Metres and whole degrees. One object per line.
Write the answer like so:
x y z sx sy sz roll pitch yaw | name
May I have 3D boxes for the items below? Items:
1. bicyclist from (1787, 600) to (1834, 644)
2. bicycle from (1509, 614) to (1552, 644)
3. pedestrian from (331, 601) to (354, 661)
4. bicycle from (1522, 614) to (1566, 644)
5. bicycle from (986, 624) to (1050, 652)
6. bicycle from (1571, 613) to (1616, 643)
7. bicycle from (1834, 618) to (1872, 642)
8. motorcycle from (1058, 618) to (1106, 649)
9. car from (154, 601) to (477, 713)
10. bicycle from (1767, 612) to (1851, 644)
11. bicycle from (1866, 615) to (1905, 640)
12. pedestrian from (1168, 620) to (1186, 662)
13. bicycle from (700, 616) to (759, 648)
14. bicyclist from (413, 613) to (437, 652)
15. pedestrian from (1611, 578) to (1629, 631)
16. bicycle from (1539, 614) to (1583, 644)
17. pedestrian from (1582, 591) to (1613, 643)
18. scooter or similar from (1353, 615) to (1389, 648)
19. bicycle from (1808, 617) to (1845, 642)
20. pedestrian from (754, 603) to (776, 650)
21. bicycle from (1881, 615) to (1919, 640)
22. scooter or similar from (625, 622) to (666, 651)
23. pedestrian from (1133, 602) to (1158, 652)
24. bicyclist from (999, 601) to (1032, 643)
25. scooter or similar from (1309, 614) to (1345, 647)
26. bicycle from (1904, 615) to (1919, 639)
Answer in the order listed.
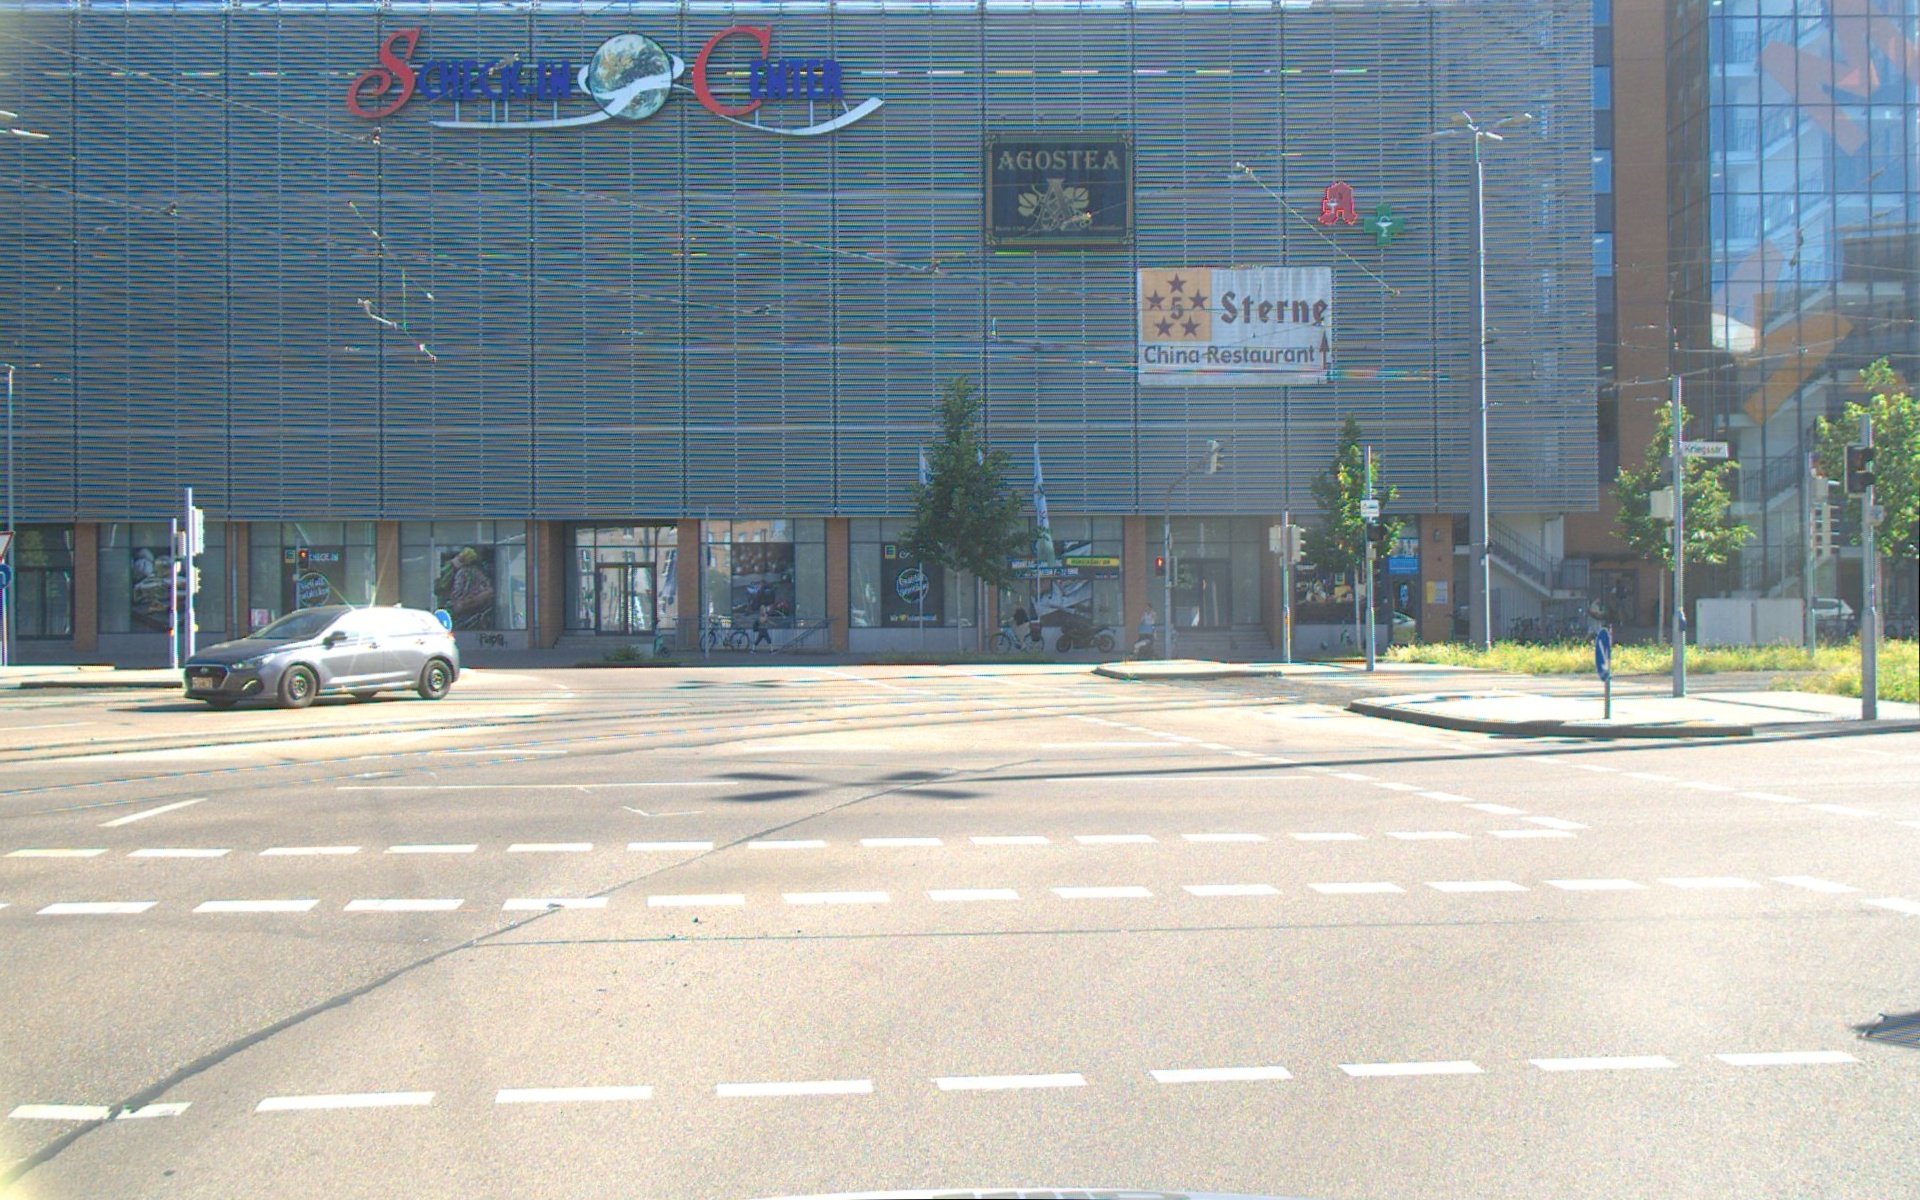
28.478 0.739 55.388 1.281 1.432 0.593 0 -1 -1 | bicyclist
19.591 0.987 56.809 0.482 0.971 2.177 0 1 -7 | bicycle
-18.385 0.917 49.246 0.614 1.782 0.585 0 -1 -21 | pedestrian
20.093 0.987 56.938 0.482 0.971 2.177 0 1 -7 | bicycle
1.844 1.226 53.074 2.001 0.882 0.682 0 -1 -3 | bicycle
21.930 0.967 57.310 0.482 0.971 2.177 0 1 -7 | bicycle
31.696 1.055 58.710 0.436 0.833 1.449 0 1 -7 | bicycle
4.126 1.128 55.859 1.581 1.056 0.401 0 -1 -2 | motorcycle
-9.550 0.796 24.854 1.955 1.526 4.303 -1 -1 28 | car
28.435 0.936 55.384 2.508 1.028 0.598 0 -1 -1 | bicycle
32.855 0.969 58.702 0.436 0.833 1.449 0 1 -7 | bicycle
6.554 1.226 49.952 0.440 1.250 0.396 0 -1 -15 | pedestrian
-7.700 1.077 55.318 1.907 1.056 0.572 0 -1 -6 | bicycle
-15.961 0.956 49.317 0.557 1.159 0.553 0 -1 -35 | bicyclist
24.530 0.180 61.477 0.528 1.948 0.374 1 -1 6 | pedestrian
20.738 0.982 57.077 0.482 0.971 2.177 0 1 -7 | bicycle
21.469 0.572 55.674 0.763 1.714 0.595 0 -1 -16 | pedestrian
14.322 1.096 57.591 1.177 1.122 0.277 1 -1 0 | scooter or similar
30.820 1.041 58.843 0.436 0.833 1.449 0 1 -7 | bicycle
-6.421 0.861 54.369 0.633 1.545 0.491 0 -1 2 | pedestrian
33.405 0.980 58.755 0.436 0.833 1.449 0 1 -7 | bicycle
-9.698 1.125 51.018 1.199 0.866 0.301 0 -1 -5 | scooter or similar
5.699 0.833 50.784 0.723 1.513 0.490 0 -1 8 | pedestrian
1.782 0.698 53.082 1.015 1.341 0.682 0 -1 -3 | bicyclist
12.710 1.055 57.310 1.177 1.122 0.277 1 -1 0 | scooter or similar
34.346 0.981 58.974 0.436 0.833 1.449 0 1 -7 | bicycle
